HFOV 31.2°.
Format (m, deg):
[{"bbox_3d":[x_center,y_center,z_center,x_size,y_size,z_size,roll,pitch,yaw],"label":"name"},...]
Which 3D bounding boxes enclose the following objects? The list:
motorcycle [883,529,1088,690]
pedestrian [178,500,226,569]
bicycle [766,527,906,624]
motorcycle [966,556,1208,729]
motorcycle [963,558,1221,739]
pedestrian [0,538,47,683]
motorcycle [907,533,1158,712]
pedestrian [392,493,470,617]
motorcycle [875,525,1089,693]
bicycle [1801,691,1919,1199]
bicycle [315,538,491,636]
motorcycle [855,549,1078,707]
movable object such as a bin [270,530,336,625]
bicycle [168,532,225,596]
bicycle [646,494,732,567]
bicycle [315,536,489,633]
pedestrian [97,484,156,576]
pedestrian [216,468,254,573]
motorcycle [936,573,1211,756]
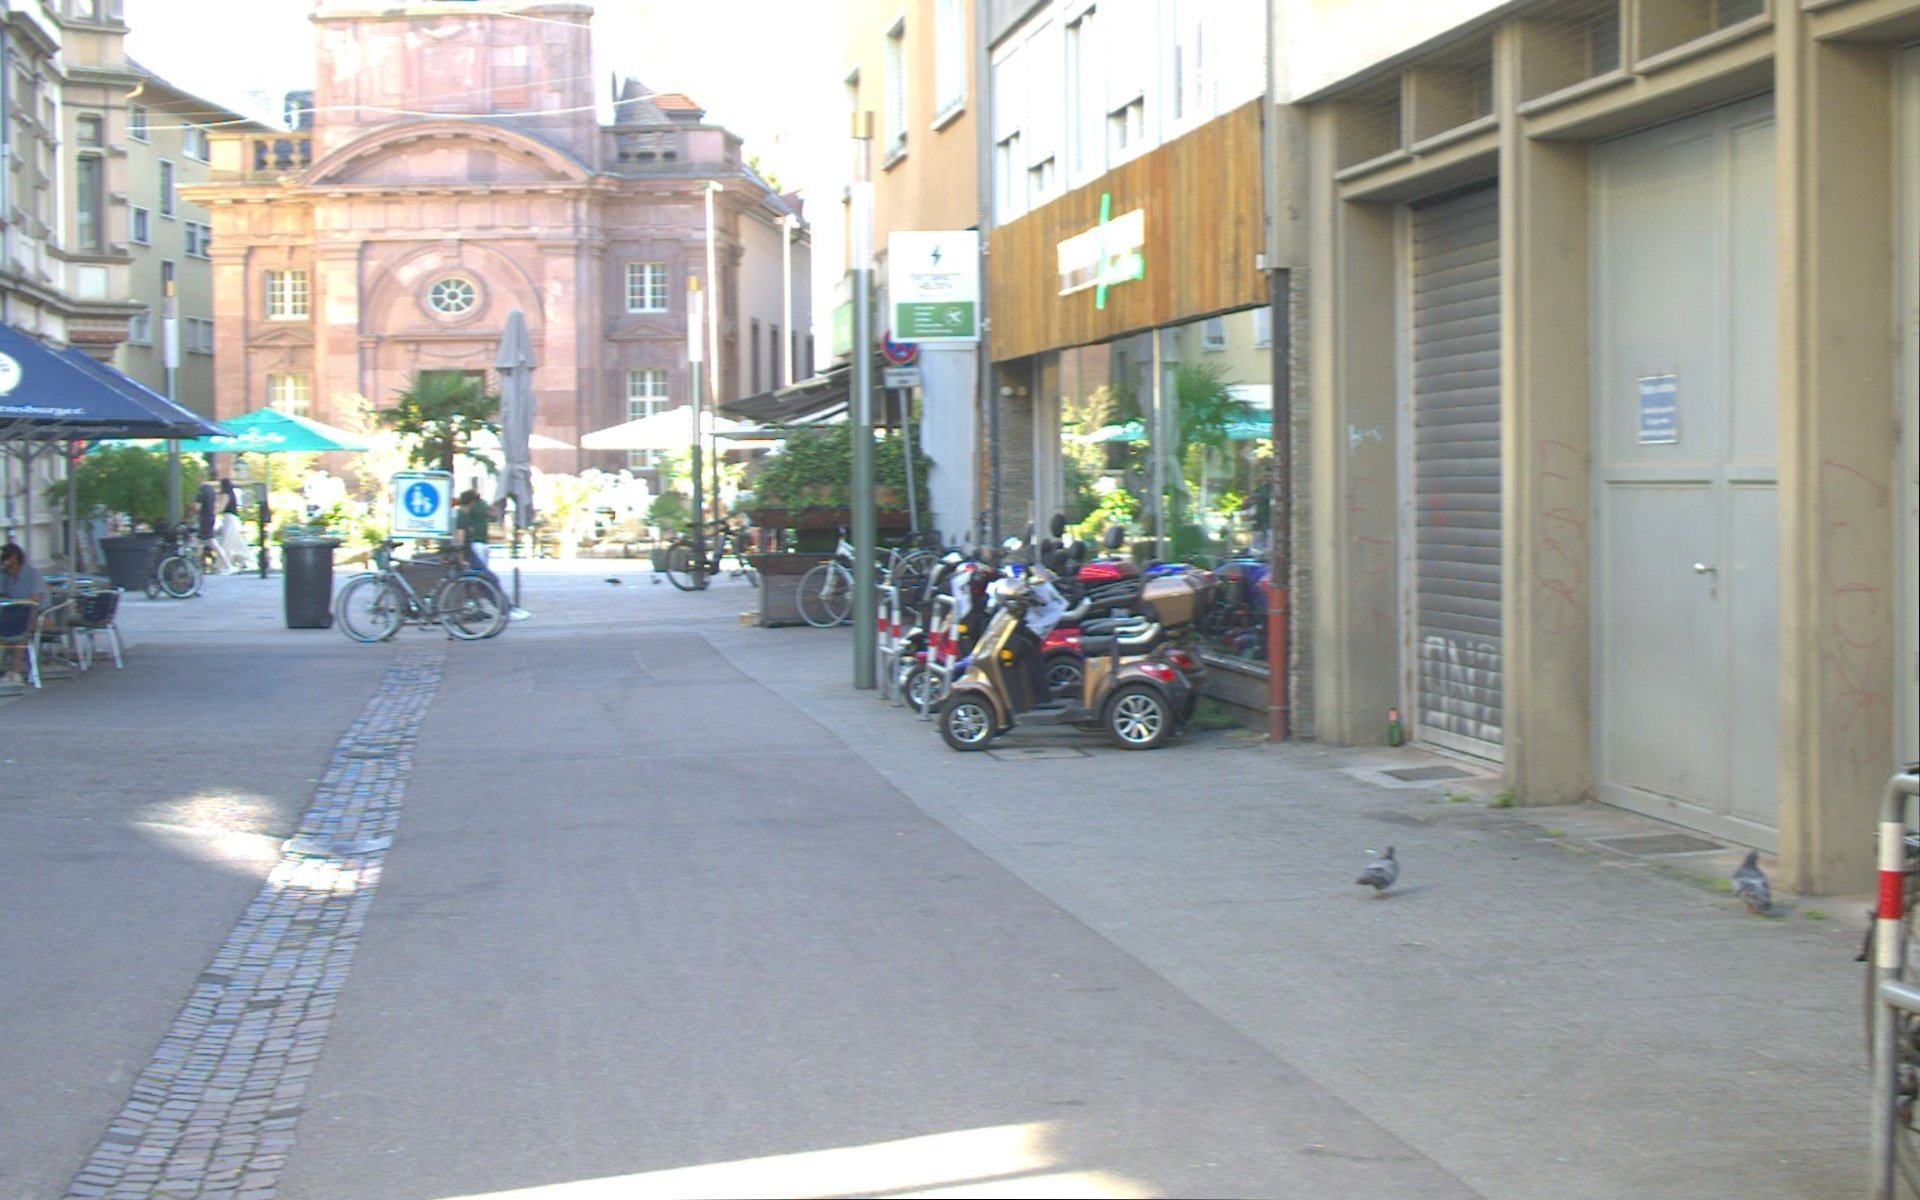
[{"bbox_3d":[0.195,0.071,25.948,1.484,1.177,0.412,-1,2,8],"label":"motorcycle"},{"bbox_3d":[-13.728,-1.190,62.287,0.700,1.213,0.719,-1,2,-2],"label":"pedestrian"},{"bbox_3d":[-1.316,-0.263,36.635,1.463,1.001,0.573,-1,2,0],"label":"bicycle"},{"bbox_3d":[0.819,0.273,22.060,1.484,1.072,0.412,-1,2,11],"label":"motorcycle"},{"bbox_3d":[0.816,0.298,21.096,1.517,1.072,0.412,-1,2,11],"label":"motorcycle"},{"bbox_3d":[-8.148,0.089,29.265,0.692,1.211,0.583,-1,2,-15],"label":"pedestrian"},{"bbox_3d":[0.496,0.153,23.316,1.625,1.171,0.480,-1,2,11],"label":"motorcycle"},{"bbox_3d":[-6.318,-0.548,41.095,0.883,1.459,0.731,-1,2,-7],"label":"pedestrian"},{"bbox_3d":[0.162,0.065,24.880,1.484,1.177,0.412,-1,2,8],"label":"motorcycle"},{"bbox_3d":[2.032,0.768,6.382,0.446,1.136,1.710,0,1,-3],"label":"bicycle"},{"bbox_3d":[-5.935,-0.142,36.605,1.823,1.001,0.381,-1,2,-11],"label":"bicycle"},{"bbox_3d":[0.048,0.195,24.053,1.484,1.072,0.412,-1,2,11],"label":"motorcycle"},{"bbox_3d":[-7.575,-0.263,39.646,0.721,1.071,0.374,-1,2,-9],"label":"movable object such as a bin"},{"bbox_3d":[-10.730,-0.521,48.337,0.456,0.847,2.147,-1,2,-4],"label":"bicycle"},{"bbox_3d":[-4.935,-1.271,62.702,1.586,1.303,0.365,-2,2,-36],"label":"bicycle"},{"bbox_3d":[-6.005,-0.169,37.006,1.823,1.001,0.381,-1,2,-11],"label":"bicycle"},{"bbox_3d":[-14.107,-1.188,58.200,0.784,1.550,0.534,0,2,21],"label":"pedestrian"},{"bbox_3d":[-12.512,-1.382,59.364,0.614,1.802,0.615,-1,2,-12],"label":"pedestrian"},{"bbox_3d":[0.671,0.380,20.286,1.564,1.038,0.372,-1,2,11],"label":"motorcycle"}]
